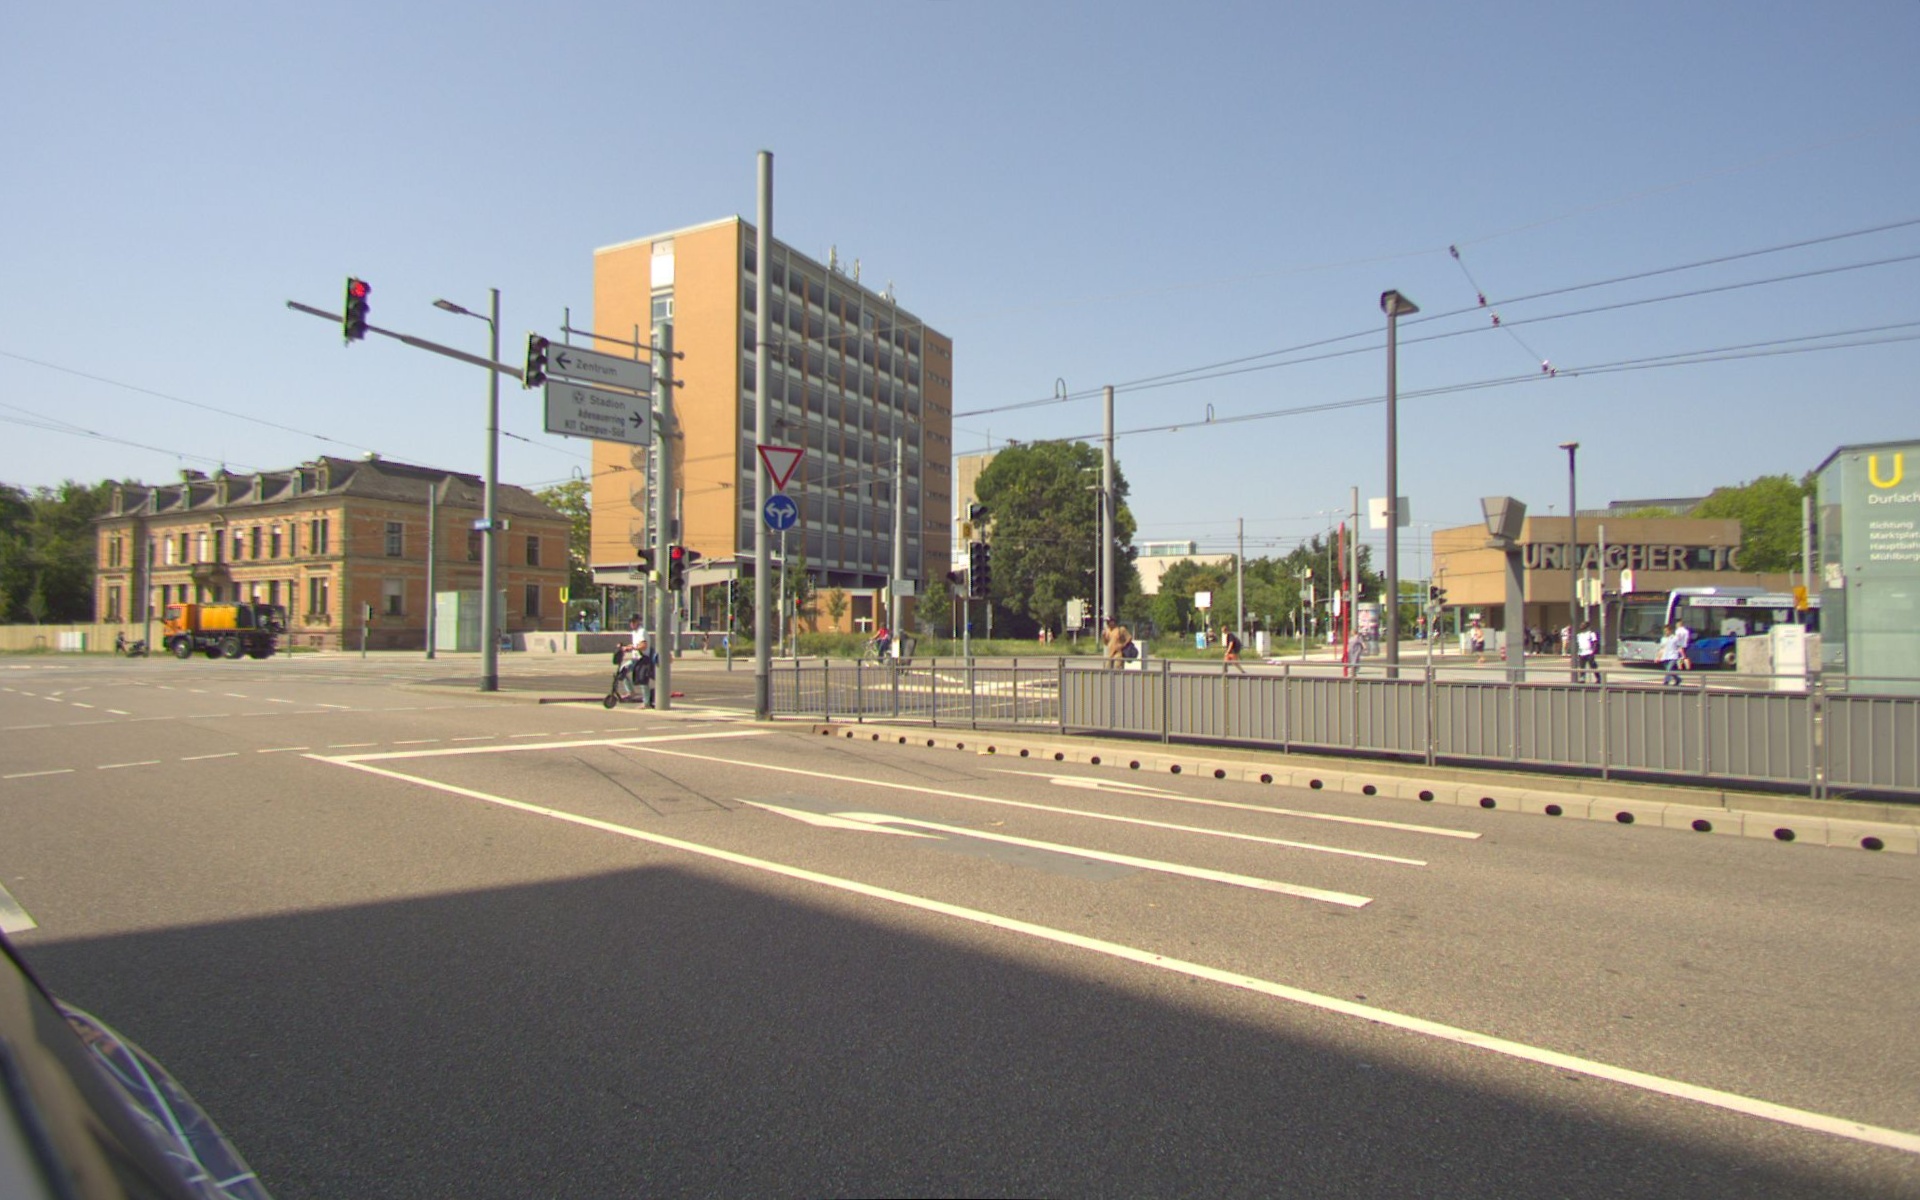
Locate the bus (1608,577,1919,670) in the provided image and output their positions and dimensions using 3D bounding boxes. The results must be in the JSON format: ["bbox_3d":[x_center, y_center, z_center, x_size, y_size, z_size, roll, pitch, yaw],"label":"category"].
[{"bbox_3d":[31.698,0.865,38.889,12.557,3.356,2.682,0,-2,-7],"label":"bus"}]

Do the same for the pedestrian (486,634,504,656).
[{"bbox_3d":[-30.186,2.940,65.679,0.787,1.405,0.836,-2,-3,42],"label":"pedestrian"}]

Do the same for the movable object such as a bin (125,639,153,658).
[{"bbox_3d":[-48.535,2.848,59.850,1.022,1.093,0.822,-1,-3,-9],"label":"movable object such as a bin"}]

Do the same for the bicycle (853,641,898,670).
[{"bbox_3d":[-3.275,2.134,39.041,1.913,1.077,0.606,-2,-3,44],"label":"bicycle"}]

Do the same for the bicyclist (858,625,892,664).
[{"bbox_3d":[-3.271,1.720,39.047,0.980,1.470,0.865,-2,-3,44],"label":"bicyclist"}]

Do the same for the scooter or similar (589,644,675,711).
[{"bbox_3d":[-5.999,1.392,18.550,0.708,1.157,1.325,-2,-3,38],"label":"scooter or similar"}]

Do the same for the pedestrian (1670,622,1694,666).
[{"bbox_3d":[25.762,1.555,36.100,0.590,1.540,0.578,2,-2,-40],"label":"pedestrian"}]

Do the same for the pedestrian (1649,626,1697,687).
[{"bbox_3d":[18.750,1.467,26.622,0.667,1.560,0.786,1,-1,-11],"label":"pedestrian"}]

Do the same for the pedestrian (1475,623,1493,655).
[{"bbox_3d":[28.249,2.092,54.588,0.578,1.689,0.579,-1,-3,-4],"label":"pedestrian"}]

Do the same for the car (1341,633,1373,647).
[{"bbox_3d":[50.023,5.084,127.432,4.585,1.666,1.905,2,-5,-43],"label":"car"}]

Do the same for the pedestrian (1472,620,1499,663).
[{"bbox_3d":[22.562,1.771,43.431,0.945,1.793,0.786,2,-2,-44],"label":"pedestrian"}]

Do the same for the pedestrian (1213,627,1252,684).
[{"bbox_3d":[8.844,1.783,32.828,0.959,1.793,0.774,0,-2,43],"label":"pedestrian"}]

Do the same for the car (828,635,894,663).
[{"bbox_3d":[-6.753,3.349,69.079,3.932,1.807,2.006,0,-4,-31],"label":"car"}]

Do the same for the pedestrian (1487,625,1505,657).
[{"bbox_3d":[28.968,2.227,54.694,0.578,1.689,0.579,-1,-3,-4],"label":"pedestrian"}]

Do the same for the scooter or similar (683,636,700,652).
[{"bbox_3d":[-19.738,3.262,74.304,1.126,1.166,0.444,1,-3,-36],"label":"scooter or similar"}]

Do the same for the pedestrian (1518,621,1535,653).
[{"bbox_3d":[29.918,1.952,53.451,0.571,1.658,0.505,-4,-4,42],"label":"pedestrian"}]

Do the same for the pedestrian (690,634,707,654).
[{"bbox_3d":[-17.910,3.019,69.435,0.787,1.405,0.836,-2,-3,42],"label":"pedestrian"}]

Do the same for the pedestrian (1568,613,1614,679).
[{"bbox_3d":[16.990,1.235,27.264,0.667,1.741,0.786,1,-2,-11],"label":"pedestrian"}]

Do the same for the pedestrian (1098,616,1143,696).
[{"bbox_3d":[3.451,1.199,21.801,0.795,1.672,0.570,-3,-3,22],"label":"pedestrian"}]

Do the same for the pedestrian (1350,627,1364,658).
[{"bbox_3d":[23.717,2.556,60.465,0.552,1.830,0.561,0,-2,-2],"label":"pedestrian"}]

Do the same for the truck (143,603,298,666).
[{"bbox_3d":[-41.393,1.966,56.747,7.113,3.254,3.032,-2,-3,11],"label":"truck"}]

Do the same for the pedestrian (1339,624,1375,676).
[{"bbox_3d":[14.115,1.762,35.967,0.959,1.793,0.774,0,-2,43],"label":"pedestrian"}]

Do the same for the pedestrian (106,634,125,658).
[{"bbox_3d":[-49.622,2.706,59.445,0.804,1.362,0.720,2,-3,-42],"label":"pedestrian"}]

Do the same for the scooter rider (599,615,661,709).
[{"bbox_3d":[-6.036,1.120,18.540,0.778,1.686,0.764,-2,-3,36],"label":"scooter rider"}]
